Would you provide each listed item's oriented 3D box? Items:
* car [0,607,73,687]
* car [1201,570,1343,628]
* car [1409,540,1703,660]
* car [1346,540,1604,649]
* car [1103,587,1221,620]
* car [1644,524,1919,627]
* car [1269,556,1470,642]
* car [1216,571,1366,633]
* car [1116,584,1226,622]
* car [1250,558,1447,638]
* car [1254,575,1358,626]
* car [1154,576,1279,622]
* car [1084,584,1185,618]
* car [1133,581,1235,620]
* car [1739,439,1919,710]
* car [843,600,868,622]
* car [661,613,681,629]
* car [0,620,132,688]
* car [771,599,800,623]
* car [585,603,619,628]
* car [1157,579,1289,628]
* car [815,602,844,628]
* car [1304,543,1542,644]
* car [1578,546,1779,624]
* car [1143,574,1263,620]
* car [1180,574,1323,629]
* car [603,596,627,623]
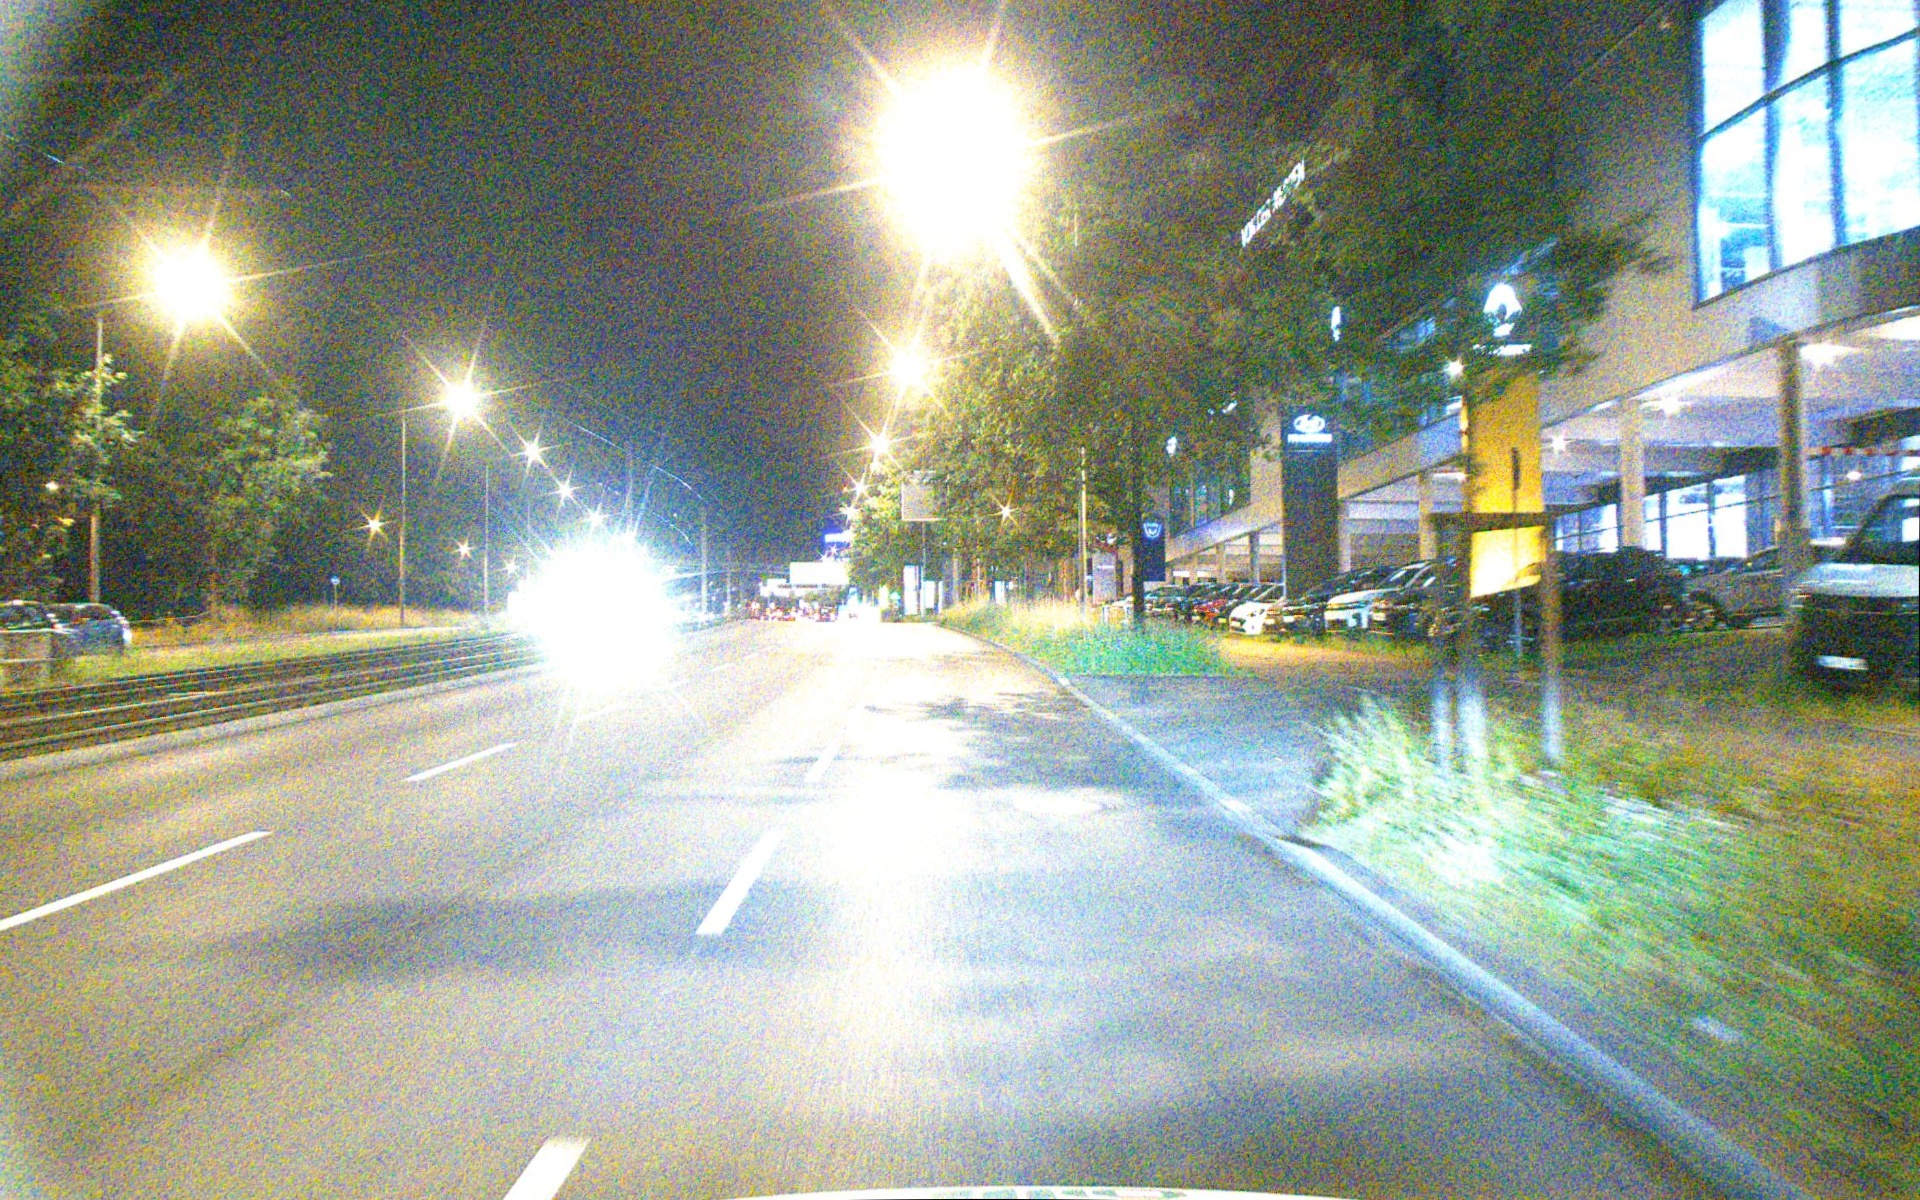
[{"bbox_3d":[-19.105,0.908,32.030,1.749,1.523,4.171,0,-1,-3],"label":"car"},{"bbox_3d":[9.245,-0.039,49.088,3.707,1.402,1.709,-5,1,-16],"label":"car"},{"bbox_3d":[9.808,-0.015,27.336,4.130,1.692,1.954,-3,0,-13],"label":"car"},{"bbox_3d":[10.048,-0.130,32.389,4.384,1.841,1.993,-3,1,-13],"label":"car"},{"bbox_3d":[8.327,0.120,68.196,4.575,1.286,1.930,-1,1,-28],"label":"car"},{"bbox_3d":[15.068,-0.418,30.263,1.705,1.537,4.378,-3,-1,-41],"label":"car"},{"bbox_3d":[9.360,-0.040,37.898,4.011,1.595,1.848,-5,1,-13],"label":"car"},{"bbox_3d":[9.316,0.046,46.621,3.741,1.478,1.710,-4,1,-17],"label":"car"},{"bbox_3d":[8.361,0.090,65.507,3.928,1.448,1.898,-1,1,-20],"label":"car"},{"bbox_3d":[9.692,-0.049,41.391,4.384,1.574,1.764,-5,0,-12],"label":"car"},{"bbox_3d":[13.817,0.049,66.181,1.576,1.827,3.809,1,-3,-43],"label":"car"},{"bbox_3d":[8.902,-0.063,57.394,3.937,1.416,1.812,-3,2,-25],"label":"car"},{"bbox_3d":[7.703,0.058,73.173,4.055,1.445,1.868,1,-1,-16],"label":"car"},{"bbox_3d":[8.506,0.020,62.770,3.557,1.458,1.666,0,-1,-26],"label":"car"},{"bbox_3d":[11.569,-0.516,17.611,5.929,2.572,2.271,-6,1,-19],"label":"car"},{"bbox_3d":[-10.312,1.057,163.542,2.379,2.150,4.823,0,0,-3],"label":"car"},{"bbox_3d":[-32.756,2.361,187.486,1.956,1.622,3.993,-2,0,-8],"label":"car"},{"bbox_3d":[-21.976,1.279,40.353,1.626,1.543,3.910,0,0,-1],"label":"car"},{"bbox_3d":[-15.138,0.944,143.719,2.217,2.049,4.823,0,0,-3],"label":"car"},{"bbox_3d":[-26.249,1.133,121.502,1.744,1.743,4.224,0,0,-2],"label":"car"},{"bbox_3d":[8.749,0.100,55.121,3.919,1.405,1.802,-3,1,-13],"label":"car"},{"bbox_3d":[-11.207,1.276,142.373,2.309,2.166,4.823,0,0,-3],"label":"car"},{"bbox_3d":[9.823,-0.151,35.184,4.385,1.716,1.993,-5,1,-13],"label":"car"},{"bbox_3d":[14.879,-0.290,34.383,1.623,1.447,3.453,-1,-1,-39],"label":"car"},{"bbox_3d":[8.859,-0.116,60.315,3.932,1.495,1.821,-3,1,-22],"label":"car"},{"bbox_3d":[9.115,0.029,51.755,3.963,1.397,1.816,-5,1,-19],"label":"car"},{"bbox_3d":[-36.422,1.036,174.463,2.110,2.717,6.934,-3,0,-15],"label":"car"}]
